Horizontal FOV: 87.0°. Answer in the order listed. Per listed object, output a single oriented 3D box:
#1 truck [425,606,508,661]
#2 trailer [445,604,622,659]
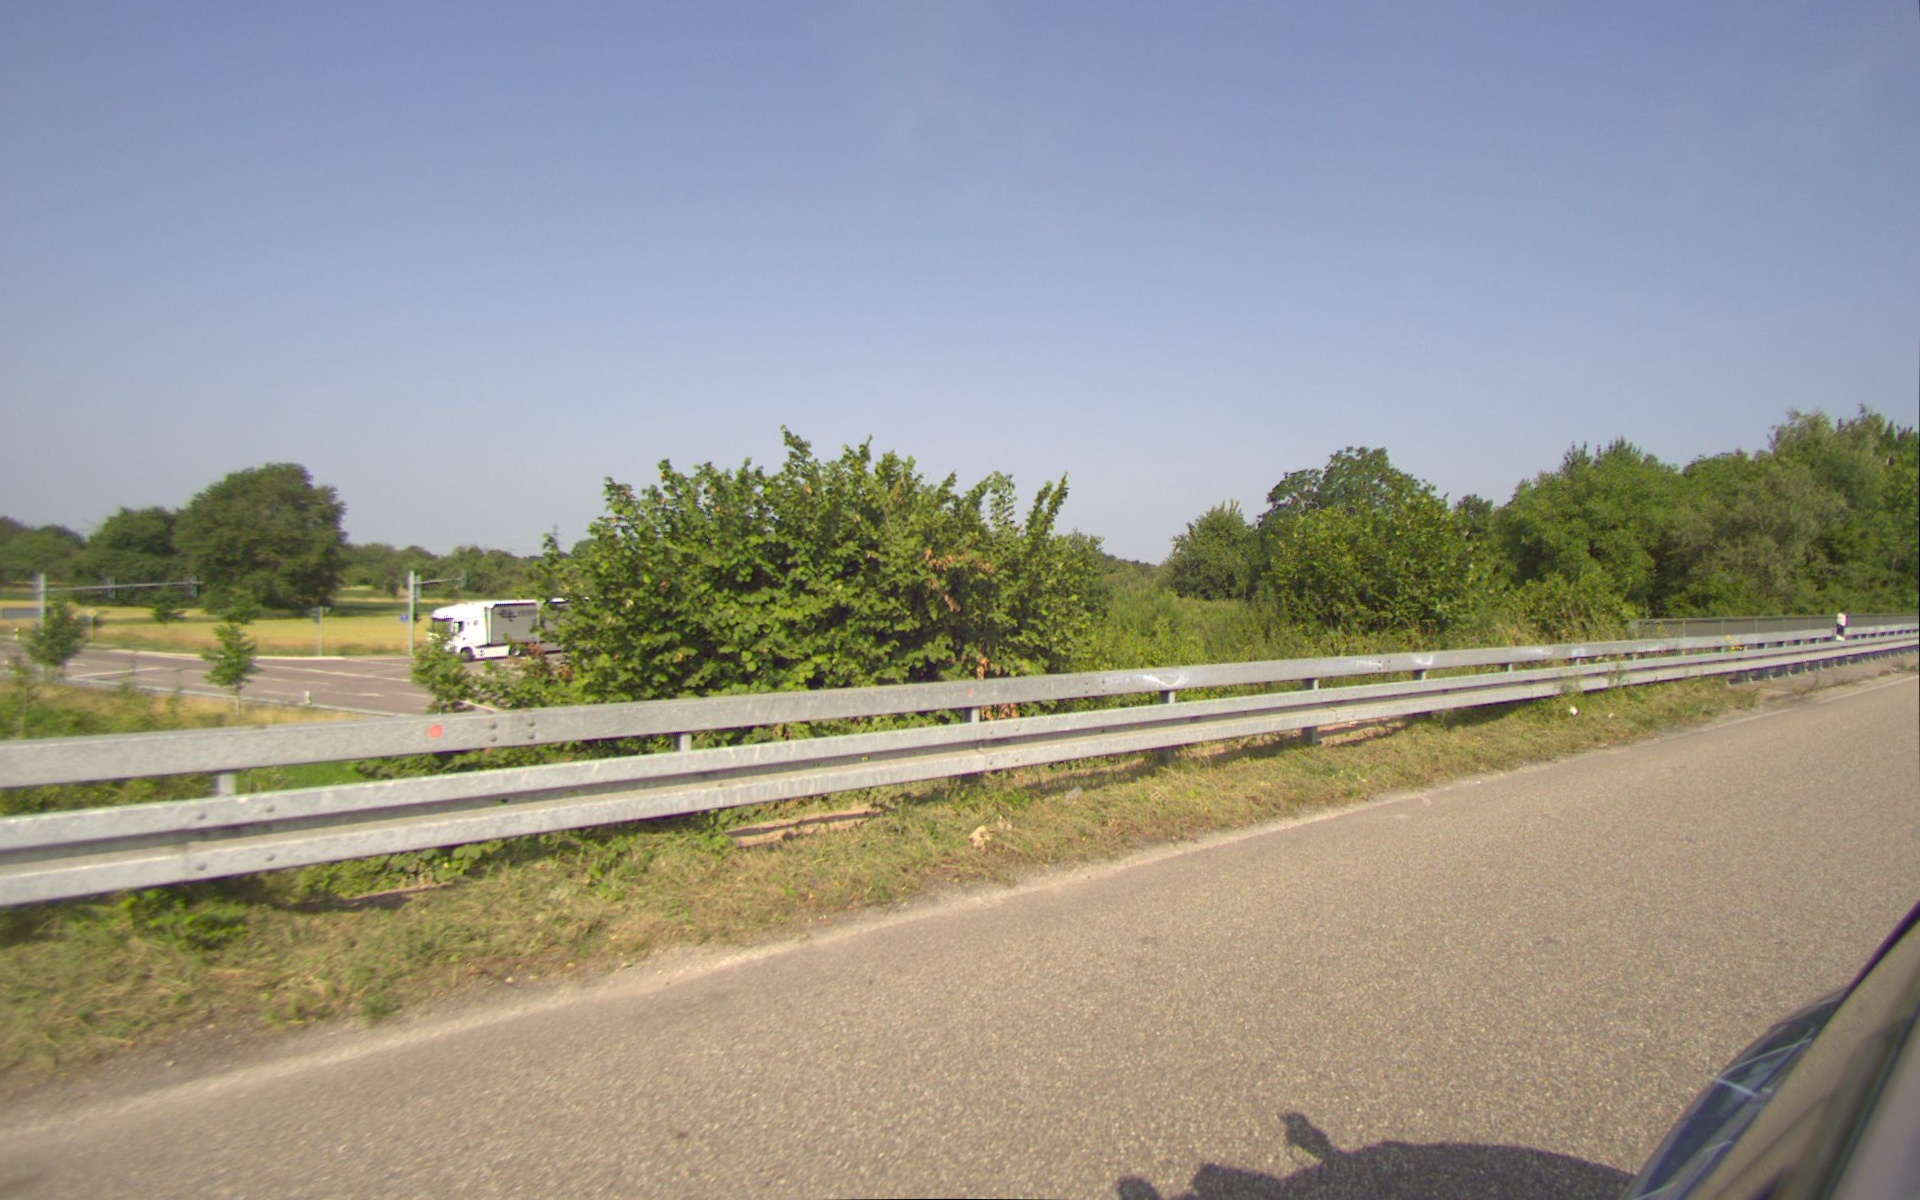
[{"bbox_3d":[-34.962,2.292,71.812,2.092,3.724,4.887,1,0,32],"label":"truck"},{"bbox_3d":[-31.886,2.232,76.766,2.092,3.699,13.772,1,0,32],"label":"trailer"}]
